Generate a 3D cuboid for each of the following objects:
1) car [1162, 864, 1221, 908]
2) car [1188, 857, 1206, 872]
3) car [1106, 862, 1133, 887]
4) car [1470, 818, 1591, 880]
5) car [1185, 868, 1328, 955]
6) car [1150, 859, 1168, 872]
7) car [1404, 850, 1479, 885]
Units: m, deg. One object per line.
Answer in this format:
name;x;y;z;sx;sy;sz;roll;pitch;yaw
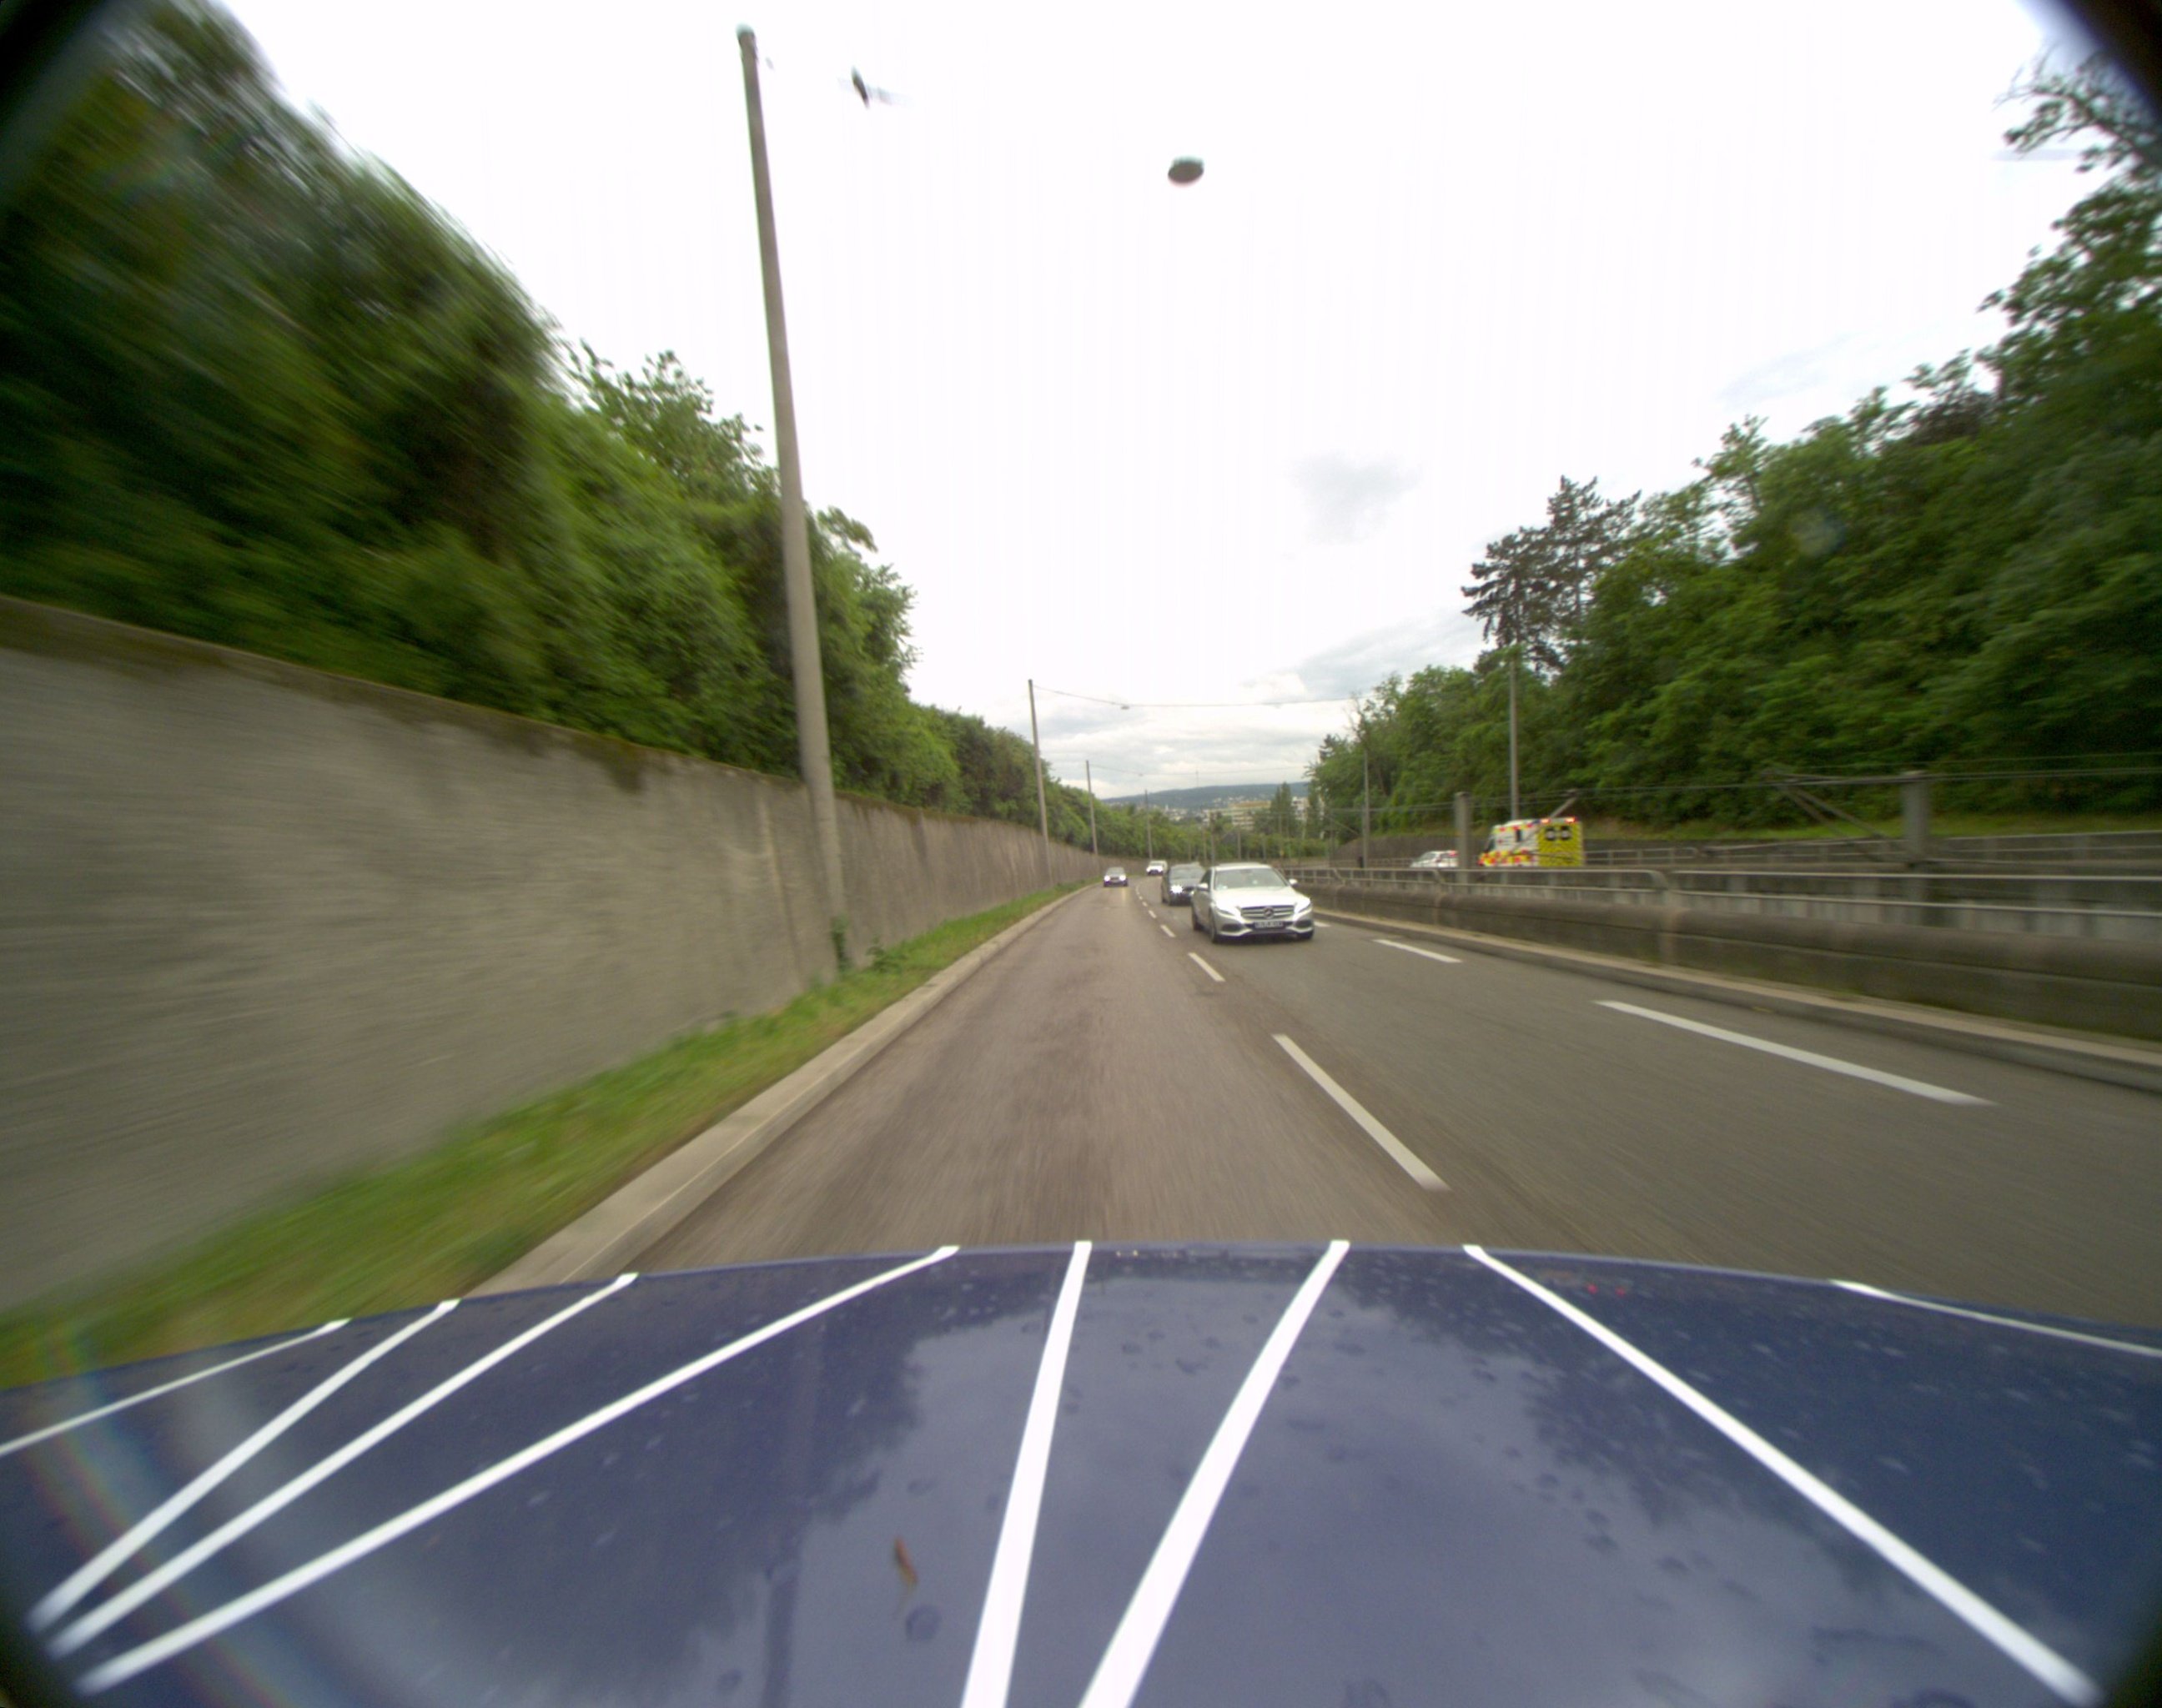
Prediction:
car;3.998;1.136;28.078;1.729;1.462;3.888;-2;-1;2
car;16.498;1.518;107.803;1.996;2.001;4.499;-1;-1;14
car;2.840;1.483;56.129;1.809;1.501;4.000;-4;1;3
car;21.442;-0.213;36.680;2.188;2.718;6.346;-1;0;2
car;3.310;1.026;15.209;1.861;1.394;4.315;-2;-1;1
car;10.089;1.467;97.883;1.808;1.501;4.003;-4;1;12
car;18.317;0.659;38.813;1.822;1.694;4.110;-1;0;-1
